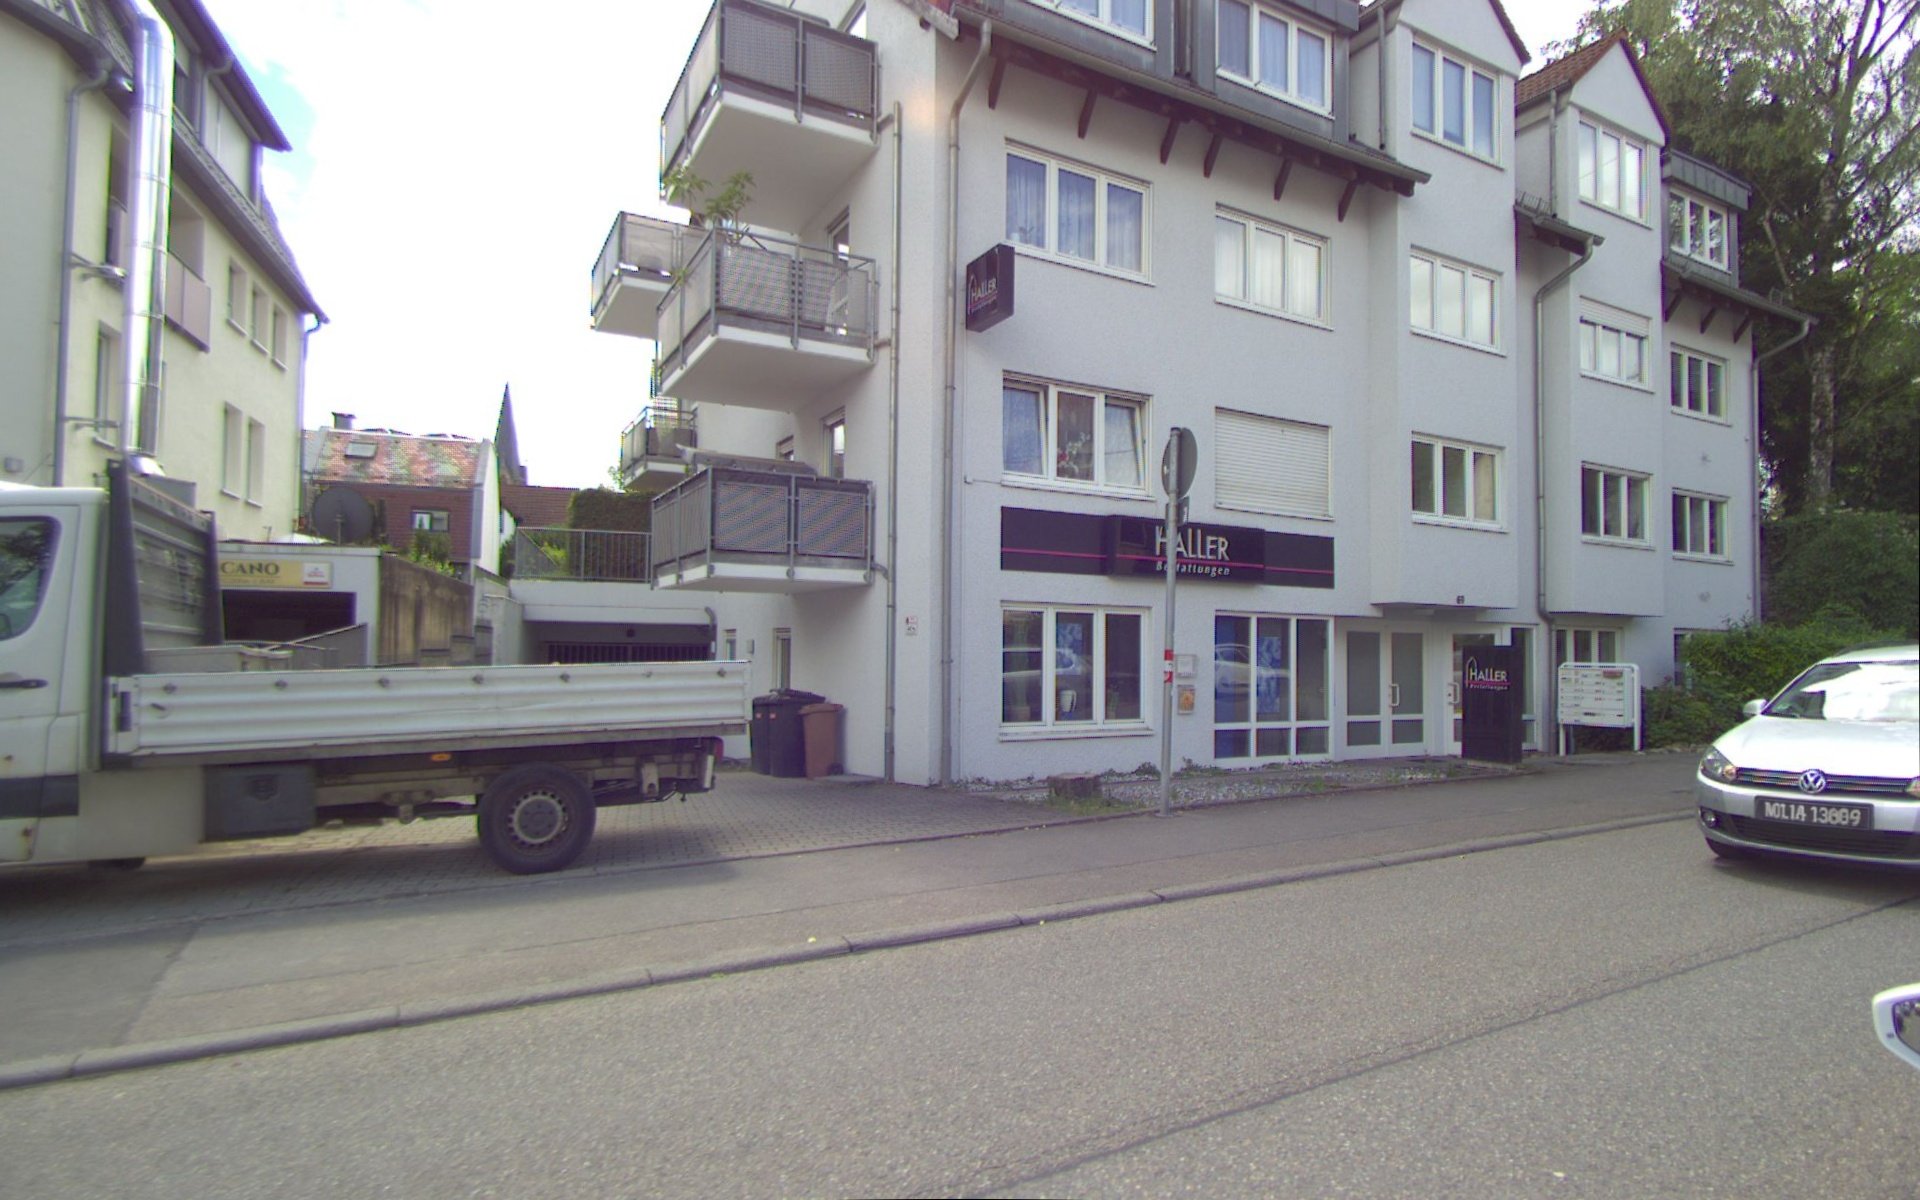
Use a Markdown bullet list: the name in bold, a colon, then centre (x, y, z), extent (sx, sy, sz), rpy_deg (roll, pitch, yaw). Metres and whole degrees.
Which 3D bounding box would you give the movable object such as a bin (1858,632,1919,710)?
- **movable object such as a bin**: centre (18.100, 1.342, 19.080), extent (1.202, 1.446, 1.321), rpy_deg (2, -2, -35)

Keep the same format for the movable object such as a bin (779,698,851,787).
- **movable object such as a bin**: centre (-1.776, 1.715, 12.239), extent (0.652, 0.975, 0.795), rpy_deg (2, -2, -25)

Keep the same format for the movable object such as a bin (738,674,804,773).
- **movable object such as a bin**: centre (-2.622, 1.686, 13.896), extent (0.699, 1.274, 0.807), rpy_deg (2, -2, -25)

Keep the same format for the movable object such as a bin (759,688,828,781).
- **movable object such as a bin**: centre (-2.180, 1.734, 13.109), extent (0.696, 1.115, 0.736), rpy_deg (2, -2, -25)

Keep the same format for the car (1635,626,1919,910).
- **car**: centre (6.780, 0.979, 6.971), extent (4.324, 1.522, 1.721), rpy_deg (1, -4, -30)

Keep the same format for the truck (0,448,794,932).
- **truck**: centre (-4.423, 0.505, 6.445), extent (6.244, 2.411, 2.217), rpy_deg (2, -2, -27)
